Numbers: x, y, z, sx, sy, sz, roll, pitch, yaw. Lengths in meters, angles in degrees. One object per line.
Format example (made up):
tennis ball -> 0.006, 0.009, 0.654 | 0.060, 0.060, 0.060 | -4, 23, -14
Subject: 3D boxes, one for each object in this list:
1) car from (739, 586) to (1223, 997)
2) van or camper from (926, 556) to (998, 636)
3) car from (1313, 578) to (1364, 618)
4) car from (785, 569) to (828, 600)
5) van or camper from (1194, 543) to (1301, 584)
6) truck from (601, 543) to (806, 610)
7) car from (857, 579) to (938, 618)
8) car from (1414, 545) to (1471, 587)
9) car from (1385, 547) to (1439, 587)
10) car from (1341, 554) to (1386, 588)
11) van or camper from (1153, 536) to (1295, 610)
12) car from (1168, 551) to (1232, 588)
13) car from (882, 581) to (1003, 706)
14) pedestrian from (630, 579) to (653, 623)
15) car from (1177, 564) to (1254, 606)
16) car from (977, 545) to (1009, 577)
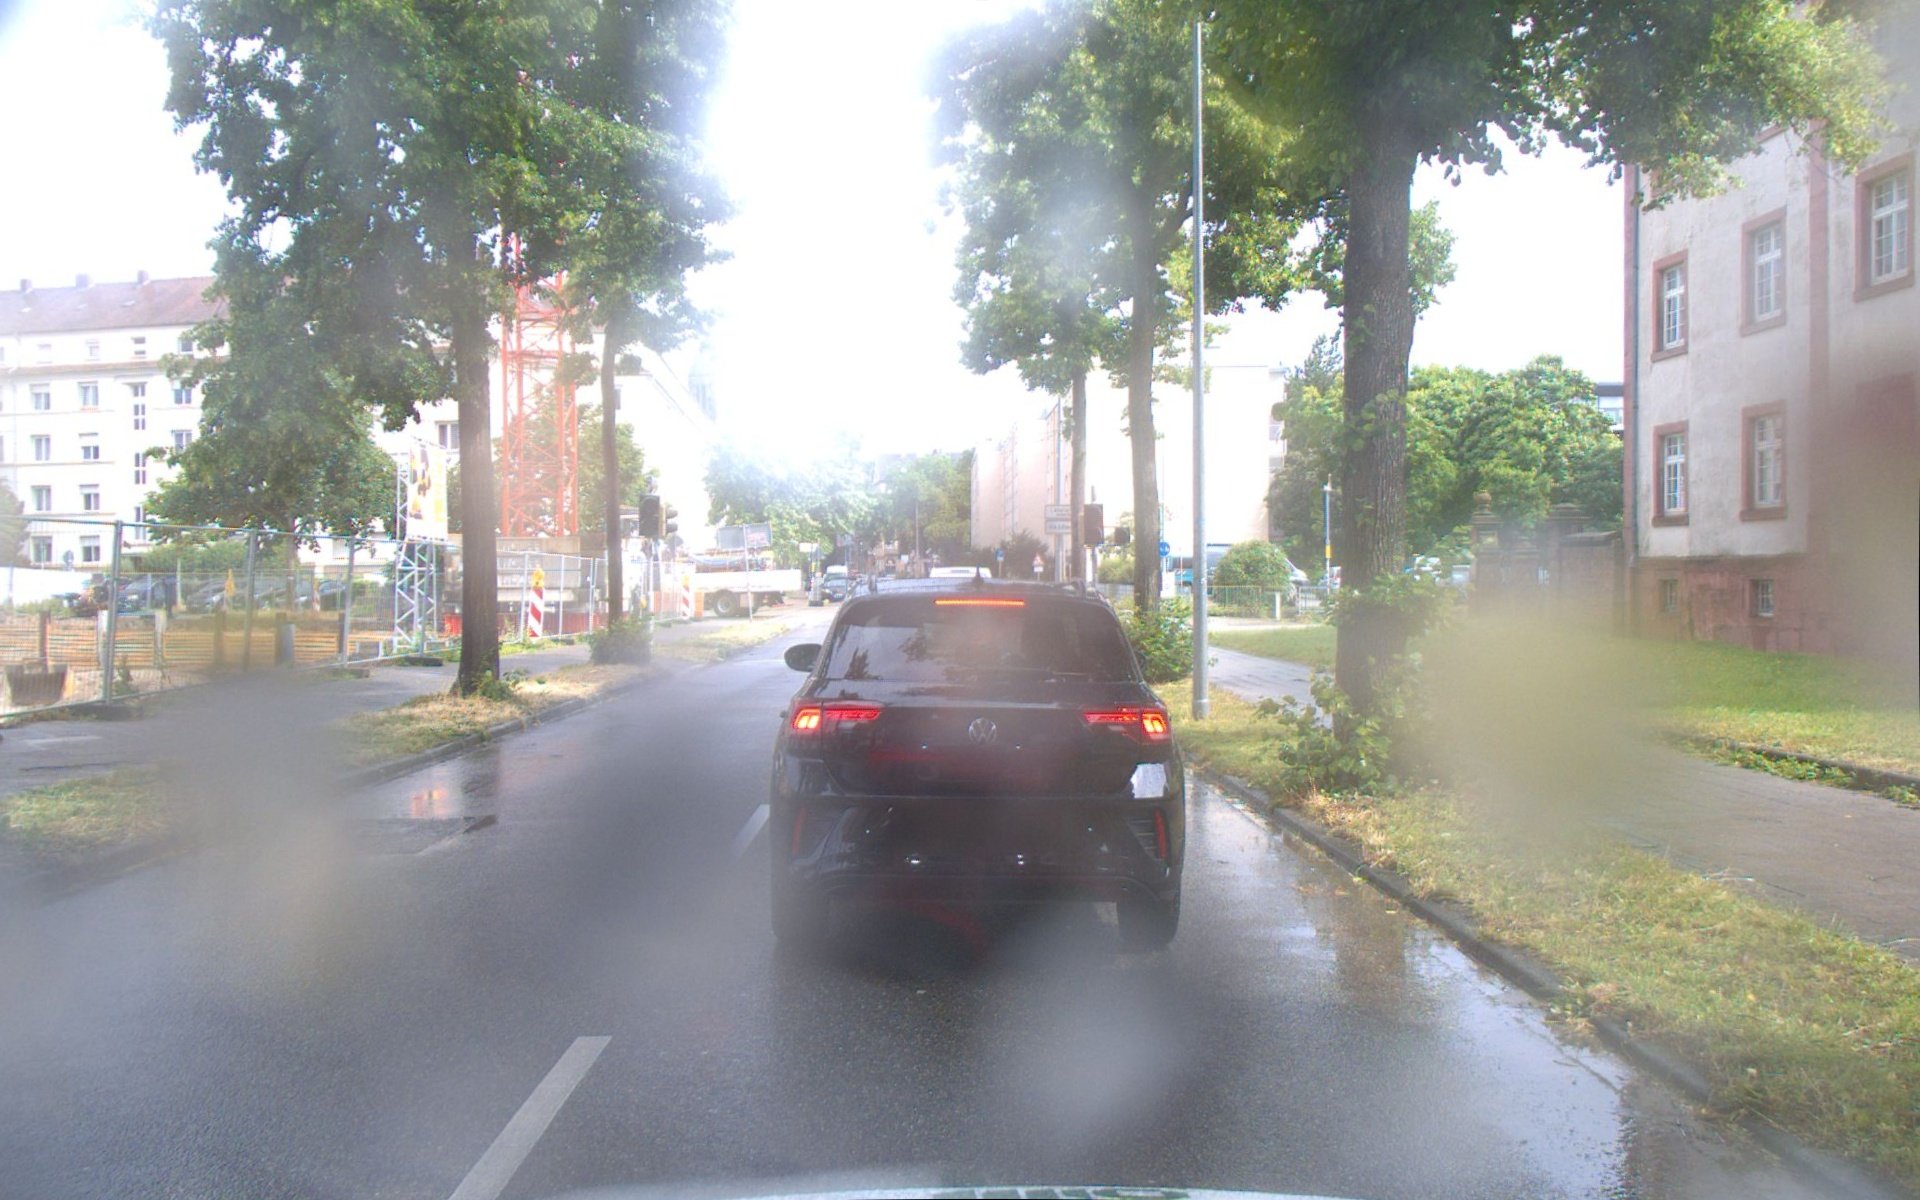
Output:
car -> 0.058, 0.718, 8.350 | 1.856, 1.549, 4.000 | 0, 1, -1
van or camper -> 0.079, -0.129, 43.253 | 1.782, 1.981, 4.195 | 0, 1, 1
car -> 17.457, -0.119, 76.455 | 1.706, 1.713, 3.873 | -3, 1, 5
car -> -8.185, -0.859, 88.282 | 1.557, 1.538, 3.734 | -3, 1, 5
van or camper -> 13.897, -1.781, 80.123 | 4.775, 1.959, 2.131 | 0, 1, 0
truck -> -10.681, -1.012, 68.858 | 8.040, 2.703, 2.816 | 1, 2, 17
car -> -3.054, -0.097, 81.512 | 1.727, 1.679, 3.915 | -3, 1, 40
car -> 25.211, -1.762, 86.540 | 1.952, 2.048, 4.002 | -3, 1, 3
car -> 25.032, -1.812, 91.733 | 1.952, 2.048, 4.002 | -3, 1, 3
car -> 23.790, -1.716, 97.613 | 1.828, 1.889, 3.811 | -3, 1, 3
van or camper -> 9.950, -1.016, 62.564 | 4.931, 2.641, 2.167 | -1, 0, -2
car -> 13.071, -1.674, 90.130 | 3.335, 1.812, 1.761 | -3, 0, 8
car -> -0.205, 0.631, 26.213 | 1.645, 1.738, 3.911 | -3, 0, 2
pedestrian -> -11.150, 0.023, 57.965 | 0.652, 1.511, 0.667 | 0, 1, -25
car -> 11.612, -0.696, 75.340 | 3.335, 1.812, 1.761 | -2, 1, 6
car -> 2.125, -2.544, 108.271 | 1.953, 2.049, 3.999 | 1, 0, -1
